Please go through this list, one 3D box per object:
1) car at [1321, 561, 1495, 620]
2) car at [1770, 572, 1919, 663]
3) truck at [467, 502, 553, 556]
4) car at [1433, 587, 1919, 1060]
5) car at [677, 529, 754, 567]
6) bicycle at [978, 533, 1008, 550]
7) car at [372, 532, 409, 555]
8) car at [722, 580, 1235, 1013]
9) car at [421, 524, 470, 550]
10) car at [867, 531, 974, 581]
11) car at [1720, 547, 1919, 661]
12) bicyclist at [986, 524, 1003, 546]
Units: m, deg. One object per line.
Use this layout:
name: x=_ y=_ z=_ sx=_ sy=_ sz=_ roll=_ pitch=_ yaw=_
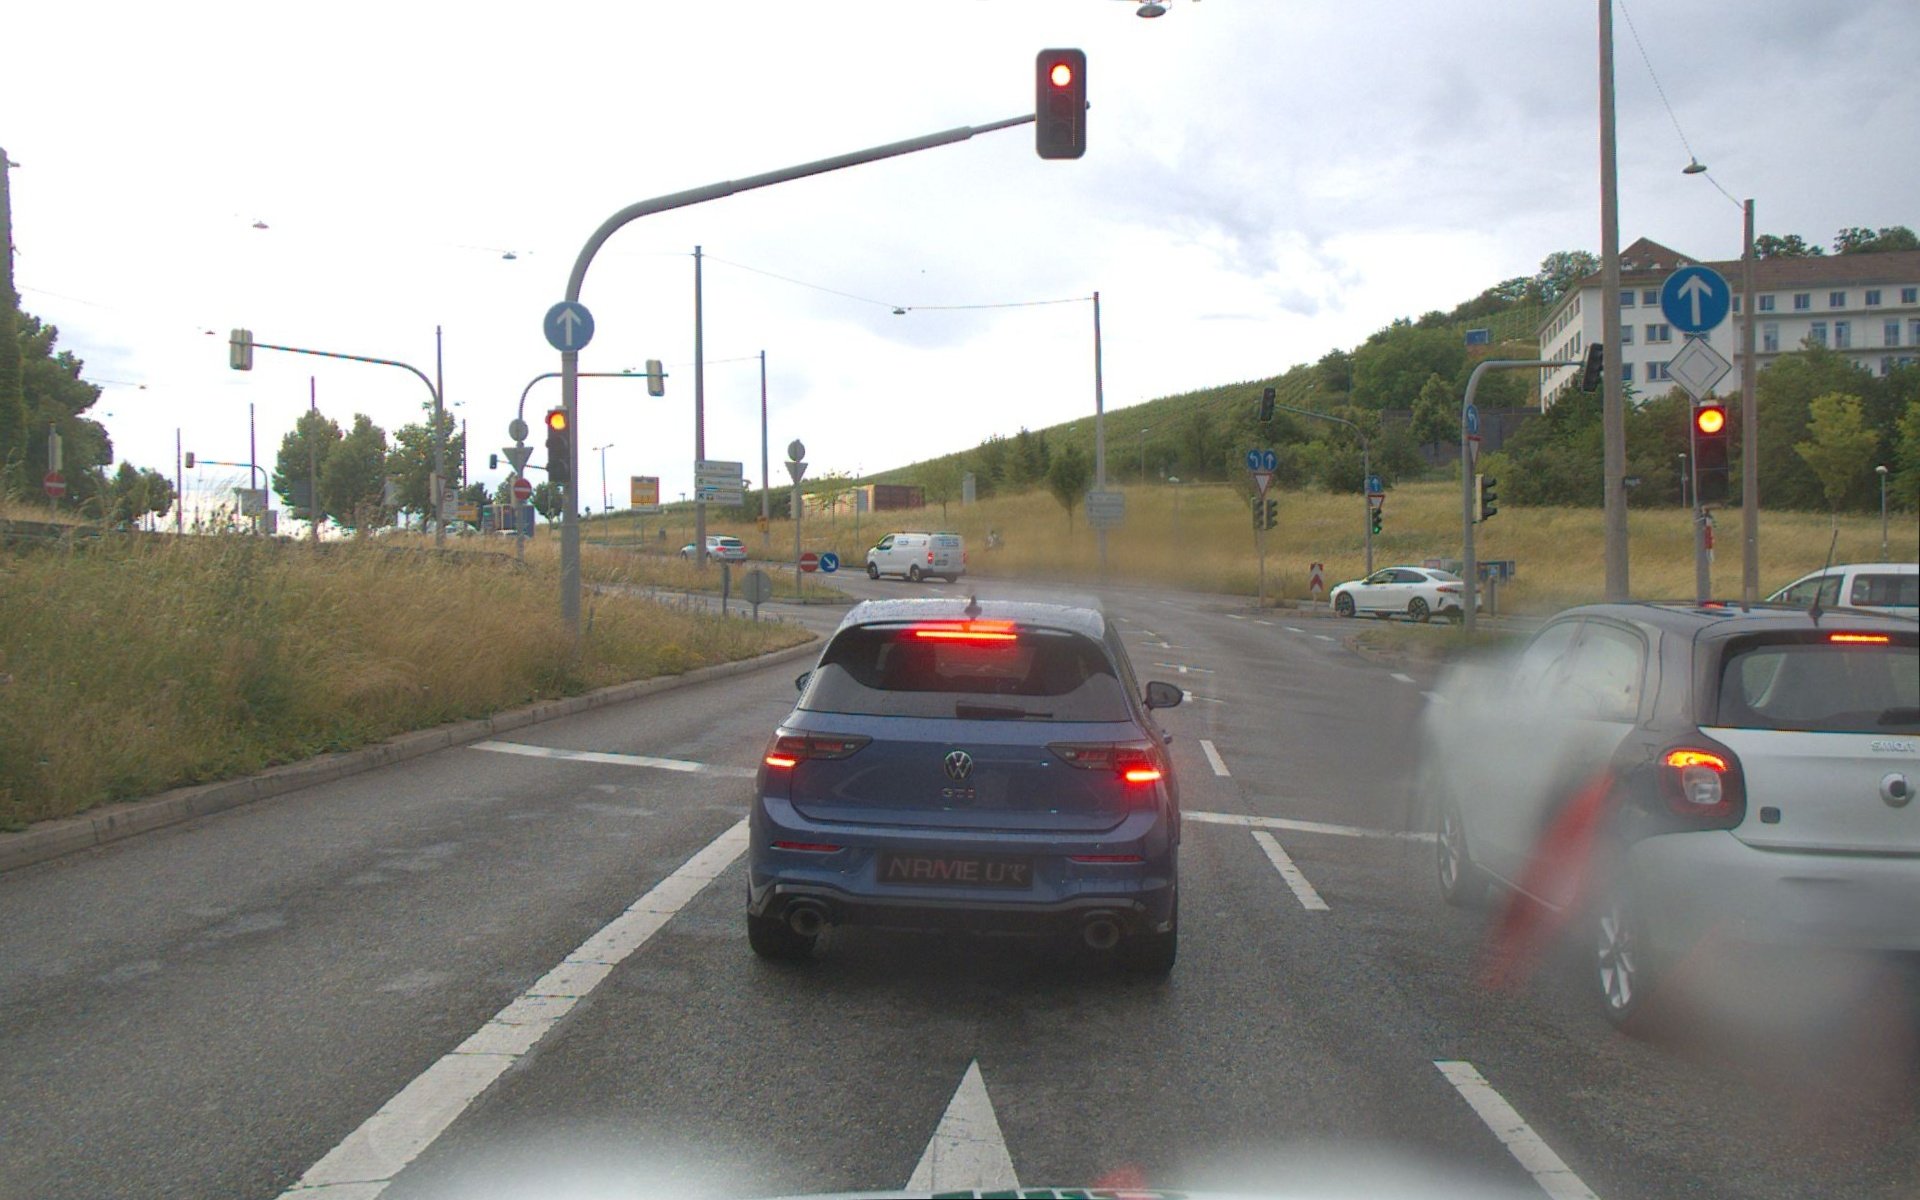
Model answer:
car: x=12.264 y=-0.245 z=45.499 sx=1.978 sy=1.503 sz=4.363 roll=1 pitch=-1 yaw=-37
car: x=17.740 y=0.331 z=30.728 sx=1.982 sy=1.649 sz=4.457 roll=1 pitch=-1 yaw=-41
truck: x=-29.139 y=-4.604 z=106.937 sx=3.233 sy=3.127 sz=6.098 roll=3 pitch=0 yaw=-37
car: x=3.249 y=0.748 z=7.119 sx=1.623 sy=1.529 sz=3.452 roll=1 pitch=0 yaw=4
car: x=-12.240 y=-2.565 z=82.586 sx=1.977 sy=1.688 sz=4.488 roll=1 pitch=-1 yaw=-35
bicycle: x=1.632 y=-2.917 z=82.890 sx=0.515 sy=0.788 sz=1.596 roll=3 pitch=1 yaw=-42
car: x=-47.026 y=-4.658 z=136.615 sx=1.973 sy=1.688 sz=4.497 roll=1 pitch=-1 yaw=-31
car: x=0.171 y=0.666 z=7.729 sx=1.787 sy=1.486 sz=3.810 roll=1 pitch=1 yaw=3
car: x=-37.573 y=-4.576 z=120.674 sx=1.979 sy=1.688 sz=4.484 roll=1 pitch=-1 yaw=-37
car: x=-1.601 y=-1.705 z=65.682 sx=2.110 sy=1.826 sz=4.686 roll=1 pitch=-1 yaw=-33
car: x=15.894 y=0.076 z=28.662 sx=1.806 sy=1.882 sz=4.625 roll=1 pitch=-1 yaw=-42
bicyclist: x=1.722 y=-3.252 z=82.809 sx=0.520 sy=1.065 sz=0.572 roll=3 pitch=0 yaw=-42
